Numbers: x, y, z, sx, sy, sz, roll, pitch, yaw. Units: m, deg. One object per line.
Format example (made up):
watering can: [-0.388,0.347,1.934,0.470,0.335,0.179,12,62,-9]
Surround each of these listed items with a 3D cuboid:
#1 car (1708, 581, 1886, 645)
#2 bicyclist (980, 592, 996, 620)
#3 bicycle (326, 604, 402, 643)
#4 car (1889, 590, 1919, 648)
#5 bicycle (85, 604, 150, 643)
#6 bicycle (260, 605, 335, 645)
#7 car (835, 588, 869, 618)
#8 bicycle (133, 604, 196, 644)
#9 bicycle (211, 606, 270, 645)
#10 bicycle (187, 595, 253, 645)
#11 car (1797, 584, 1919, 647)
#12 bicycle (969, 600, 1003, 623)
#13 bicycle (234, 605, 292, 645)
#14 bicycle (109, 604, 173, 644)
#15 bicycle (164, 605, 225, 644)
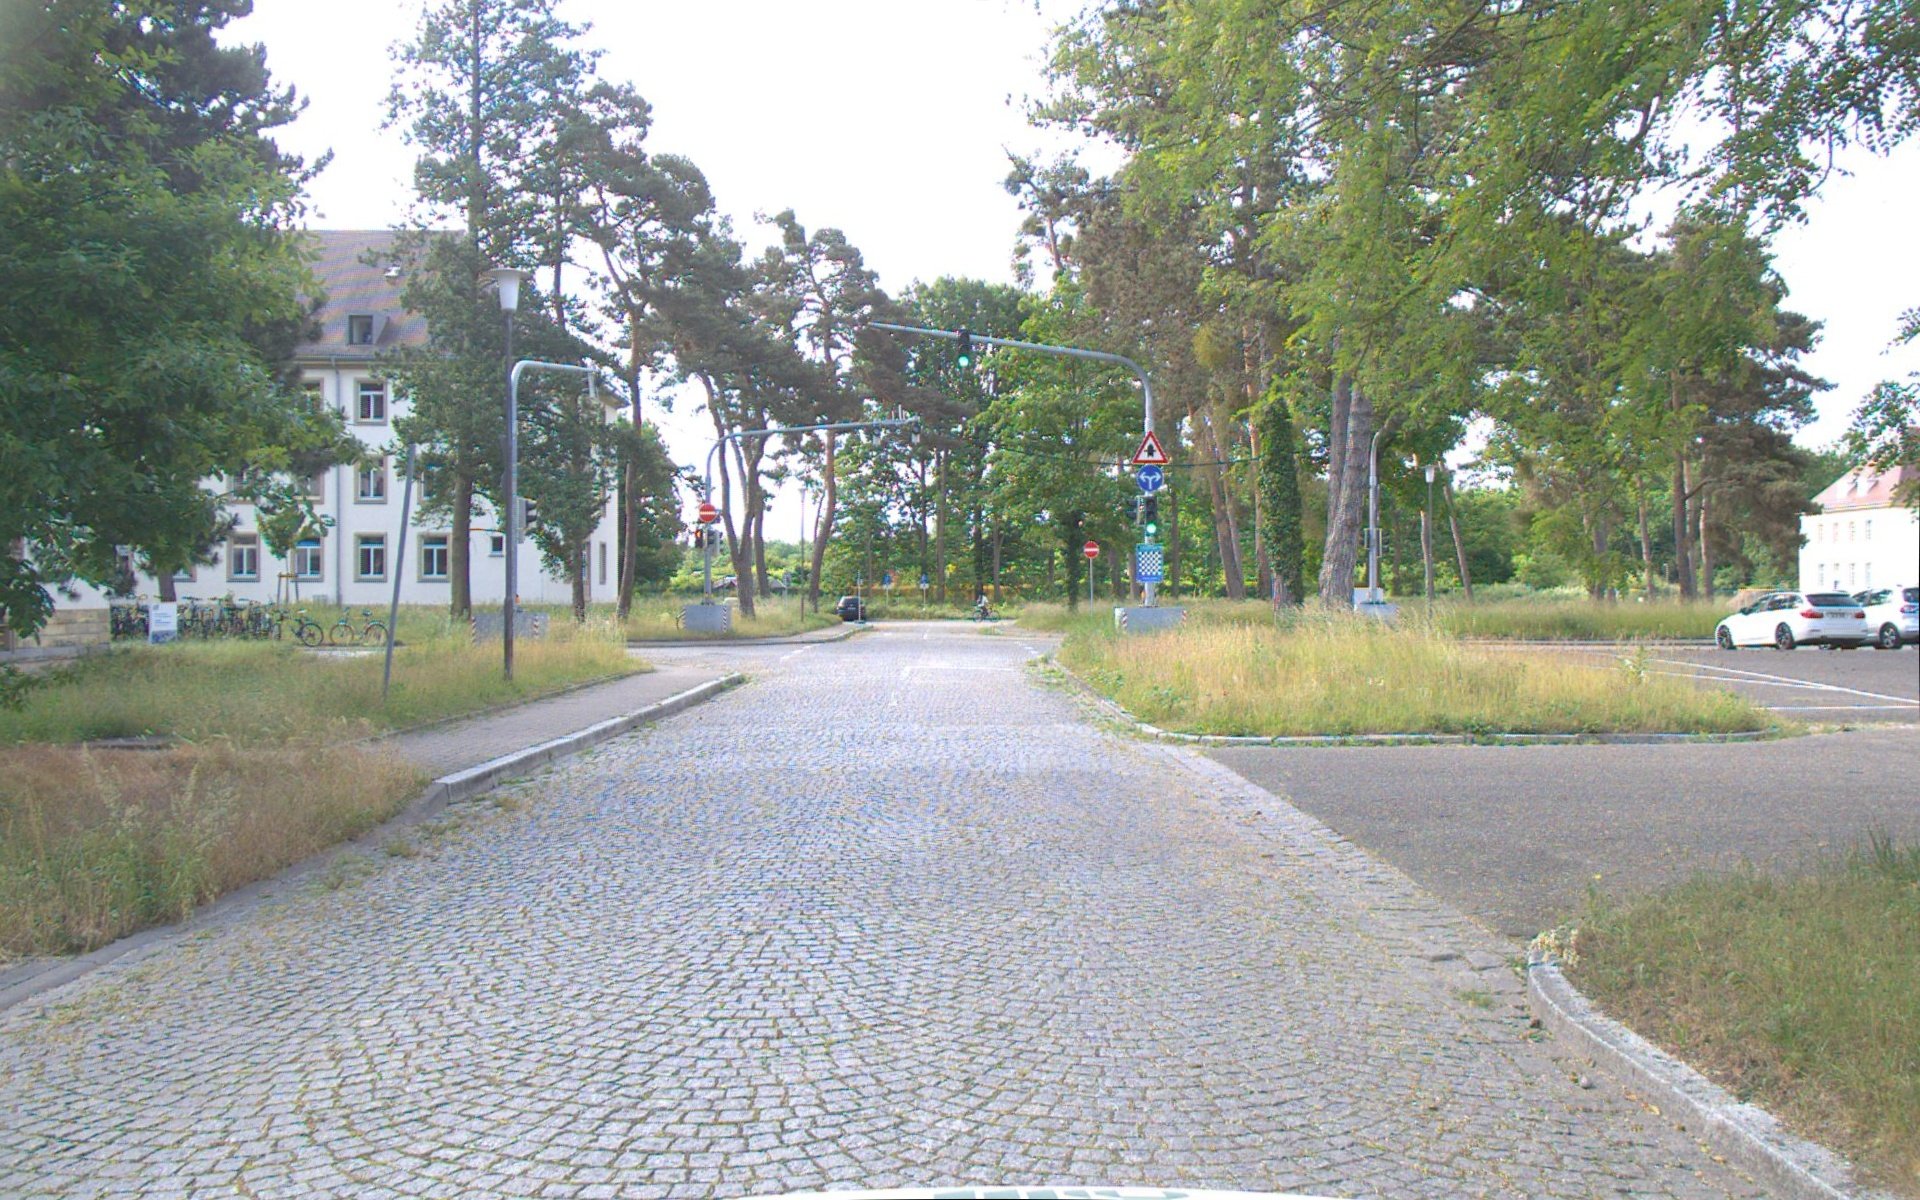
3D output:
car: [20.730,0.353,41.202,1.954,1.507,4.421,0,-1,-4]
bicyclist: [1.688,0.365,99.384,0.739,1.700,0.522,1,-1,-24]
bicycle: [-16.840,0.656,46.760,1.818,1.095,0.831,0,0,1]
car: [25.806,0.467,41.762,1.954,1.507,4.421,0,-1,-4]
bicycle: [-24.362,0.670,47.885,0.721,1.095,2.273,0,0,0]
bicycle: [-18.691,0.698,46.690,1.818,1.095,0.738,0,0,1]
car: [-6.787,0.175,104.265,2.014,1.878,3.999,0,0,-2]
bicycle: [-22.945,0.679,47.760,0.721,1.095,2.273,0,0,0]
bicycle: [-20.796,0.717,47.825,0.721,1.095,2.273,0,0,0]
bicycle: [-21.531,0.567,48.168,0.721,1.410,2.711,0,0,0]
car: [23.194,0.408,41.424,1.954,1.507,4.421,0,-1,-4]
bicycle: [1.566,0.684,99.356,1.942,1.343,0.515,1,-1,-23]
bicycle: [-20.167,0.708,47.916,0.721,1.095,2.273,0,0,0]
bicycle: [-23.665,0.677,47.819,0.721,1.095,2.273,0,0,0]
bicycle: [-22.318,0.702,48.264,0.721,1.095,2.273,0,0,0]
